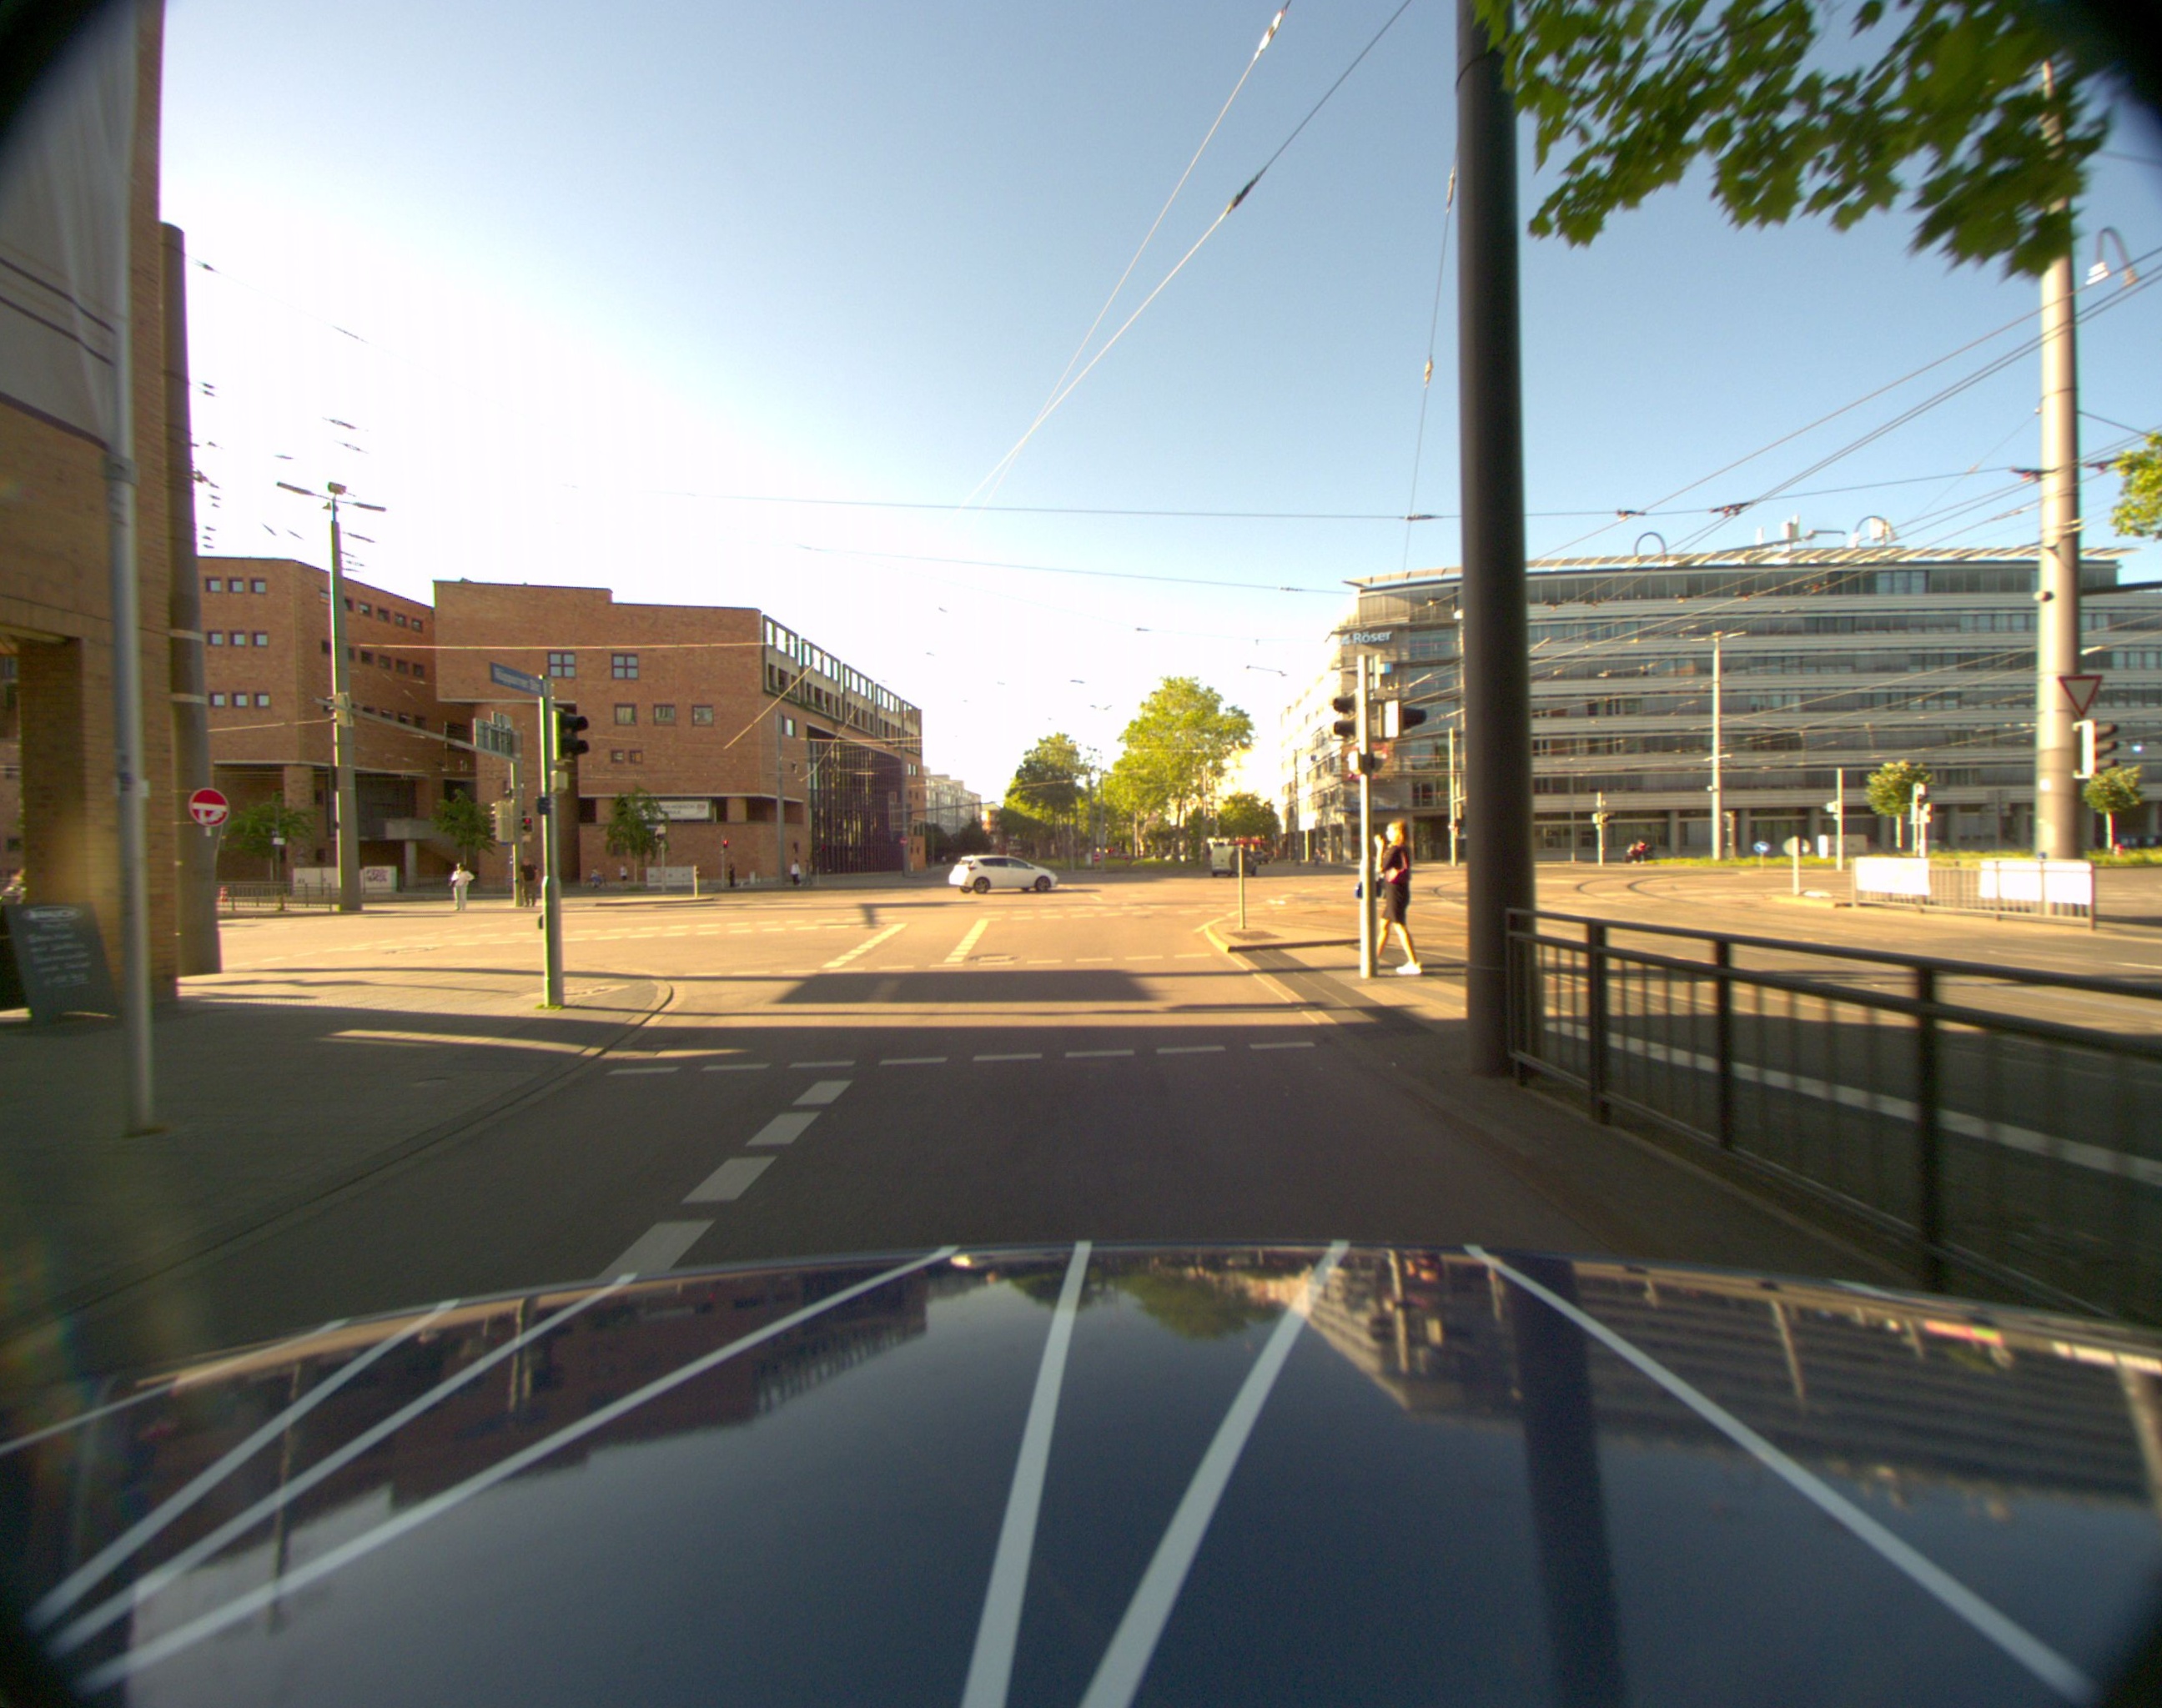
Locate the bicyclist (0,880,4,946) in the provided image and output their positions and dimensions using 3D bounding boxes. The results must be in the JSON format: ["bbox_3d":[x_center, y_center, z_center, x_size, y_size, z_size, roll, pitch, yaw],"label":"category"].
[{"bbox_3d":[-22.957,1.239,15.418,0.925,1.369,0.811,-1,1,-9],"label":"bicyclist"}]

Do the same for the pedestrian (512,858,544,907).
[{"bbox_3d":[-19.784,1.006,27.176,0.594,1.717,0.723,-1,1,-6],"label":"pedestrian"}]

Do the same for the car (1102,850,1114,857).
[{"bbox_3d":[5.430,-0.081,152.152,1.700,1.466,3.978,-1,0,-9],"label":"car"}]

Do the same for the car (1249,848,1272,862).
[{"bbox_3d":[19.534,0.098,82.909,1.865,1.466,3.979,-1,0,5],"label":"car"}]

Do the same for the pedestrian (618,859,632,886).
[{"bbox_3d":[-30.812,1.238,51.377,0.573,1.776,0.549,2,0,-4],"label":"pedestrian"}]

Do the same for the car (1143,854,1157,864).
[{"bbox_3d":[10.666,0.760,118.198,1.666,1.380,3.535,1,0,-4],"label":"car"}]

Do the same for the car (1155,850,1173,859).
[{"bbox_3d":[14.104,0.036,129.735,1.868,1.466,3.973,-1,0,-12],"label":"car"}]

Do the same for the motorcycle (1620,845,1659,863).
[{"bbox_3d":[40.742,0.001,55.436,2.254,1.214,0.821,-1,1,1],"label":"motorcycle"}]

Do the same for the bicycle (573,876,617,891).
[{"bbox_3d":[-31.858,1.947,49.809,2.345,0.899,0.650,-1,1,-6],"label":"bicycle"}]

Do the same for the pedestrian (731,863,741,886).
[{"bbox_3d":[-22.723,1.348,49.995,0.574,1.468,0.548,-1,1,-25],"label":"pedestrian"}]

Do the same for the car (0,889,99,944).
[{"bbox_3d":[-29.721,1.696,20.218,4.230,1.261,1.843,-1,2,-9],"label":"car"}]

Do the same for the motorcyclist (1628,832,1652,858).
[{"bbox_3d":[40.768,-0.638,55.439,1.111,1.847,0.821,-1,1,1],"label":"motorcyclist"}]

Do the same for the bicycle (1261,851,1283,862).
[{"bbox_3d":[22.495,0.301,89.482,2.396,1.206,0.774,0,0,-14],"label":"bicycle"}]

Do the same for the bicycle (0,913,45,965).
[{"bbox_3d":[-23.027,1.749,15.415,2.509,0.985,0.811,-1,1,-9],"label":"bicycle"}]

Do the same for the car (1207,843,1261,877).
[{"bbox_3d":[9.117,0.330,45.007,1.840,1.826,4.114,0,2,30],"label":"car"}]

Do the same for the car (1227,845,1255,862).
[{"bbox_3d":[18.522,-0.056,88.218,1.867,2.004,4.455,-1,0,-7],"label":"car"}]

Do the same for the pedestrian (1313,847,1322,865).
[{"bbox_3d":[21.949,0.161,70.514,0.660,1.631,0.793,0,0,0],"label":"pedestrian"}]

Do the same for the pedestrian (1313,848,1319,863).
[{"bbox_3d":[29.207,0.189,94.488,0.586,1.723,0.794,-1,-1,12],"label":"pedestrian"}]

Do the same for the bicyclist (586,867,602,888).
[{"bbox_3d":[-31.928,1.562,49.801,0.652,1.331,0.647,-1,1,-6],"label":"bicyclist"}]

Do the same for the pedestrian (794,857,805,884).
[{"bbox_3d":[-18.481,1.092,49.870,0.549,1.776,0.572,-1,2,-15],"label":"pedestrian"}]

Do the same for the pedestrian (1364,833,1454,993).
[{"bbox_3d":[3.605,0.611,8.414,0.715,1.670,0.832,1,1,9],"label":"pedestrian"}]

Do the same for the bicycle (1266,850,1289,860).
[{"bbox_3d":[22.353,0.133,86.410,2.396,1.206,0.774,0,0,-14],"label":"bicycle"}]

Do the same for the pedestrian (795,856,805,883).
[{"bbox_3d":[-19.017,1.065,51.381,0.549,1.776,0.572,-1,2,-15],"label":"pedestrian"}]

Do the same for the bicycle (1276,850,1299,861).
[{"bbox_3d":[23.136,0.171,84.970,2.391,1.206,0.776,0,0,6],"label":"bicycle"}]

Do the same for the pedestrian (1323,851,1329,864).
[{"bbox_3d":[22.586,0.363,70.089,0.443,1.203,0.462,0,0,0],"label":"pedestrian"}]

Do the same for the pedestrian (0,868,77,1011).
[{"bbox_3d":[-12.832,1.010,9.180,0.751,1.656,0.742,0,1,44],"label":"pedestrian"}]

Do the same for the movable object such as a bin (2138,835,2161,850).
[{"bbox_3d":[92.556,-0.969,65.467,1.327,1.293,1.174,-1,0,4],"label":"movable object such as a bin"}]

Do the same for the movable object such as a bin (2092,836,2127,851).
[{"bbox_3d":[88.051,-0.909,65.052,1.173,1.293,1.329,-1,0,4],"label":"movable object such as a bin"}]

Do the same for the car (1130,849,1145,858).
[{"bbox_3d":[9.534,-0.036,128.735,1.867,1.466,3.975,-1,0,-7],"label":"car"}]

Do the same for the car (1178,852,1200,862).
[{"bbox_3d":[15.982,0.392,112.728,1.868,1.466,3.973,-1,0,-12],"label":"car"}]

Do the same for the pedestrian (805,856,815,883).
[{"bbox_3d":[-18.328,1.033,51.458,0.549,1.776,0.572,-1,2,-15],"label":"pedestrian"}]

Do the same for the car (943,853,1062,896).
[{"bbox_3d":[-3.098,0.758,30.201,4.304,1.440,1.840,-2,2,-30],"label":"car"}]

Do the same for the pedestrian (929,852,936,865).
[{"bbox_3d":[-18.881,0.597,96.732,0.813,1.596,0.686,-1,1,-19],"label":"pedestrian"}]

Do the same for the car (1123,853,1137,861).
[{"bbox_3d":[8.980,0.525,139.812,1.700,1.431,4.016,-1,-1,-8],"label":"car"}]

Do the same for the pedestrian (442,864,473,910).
[{"bbox_3d":[-21.560,1.136,26.294,0.647,1.568,0.581,-1,1,-21],"label":"pedestrian"}]

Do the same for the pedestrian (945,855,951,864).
[{"bbox_3d":[-21.219,0.838,121.090,0.812,1.376,0.687,-1,1,-5],"label":"pedestrian"}]
